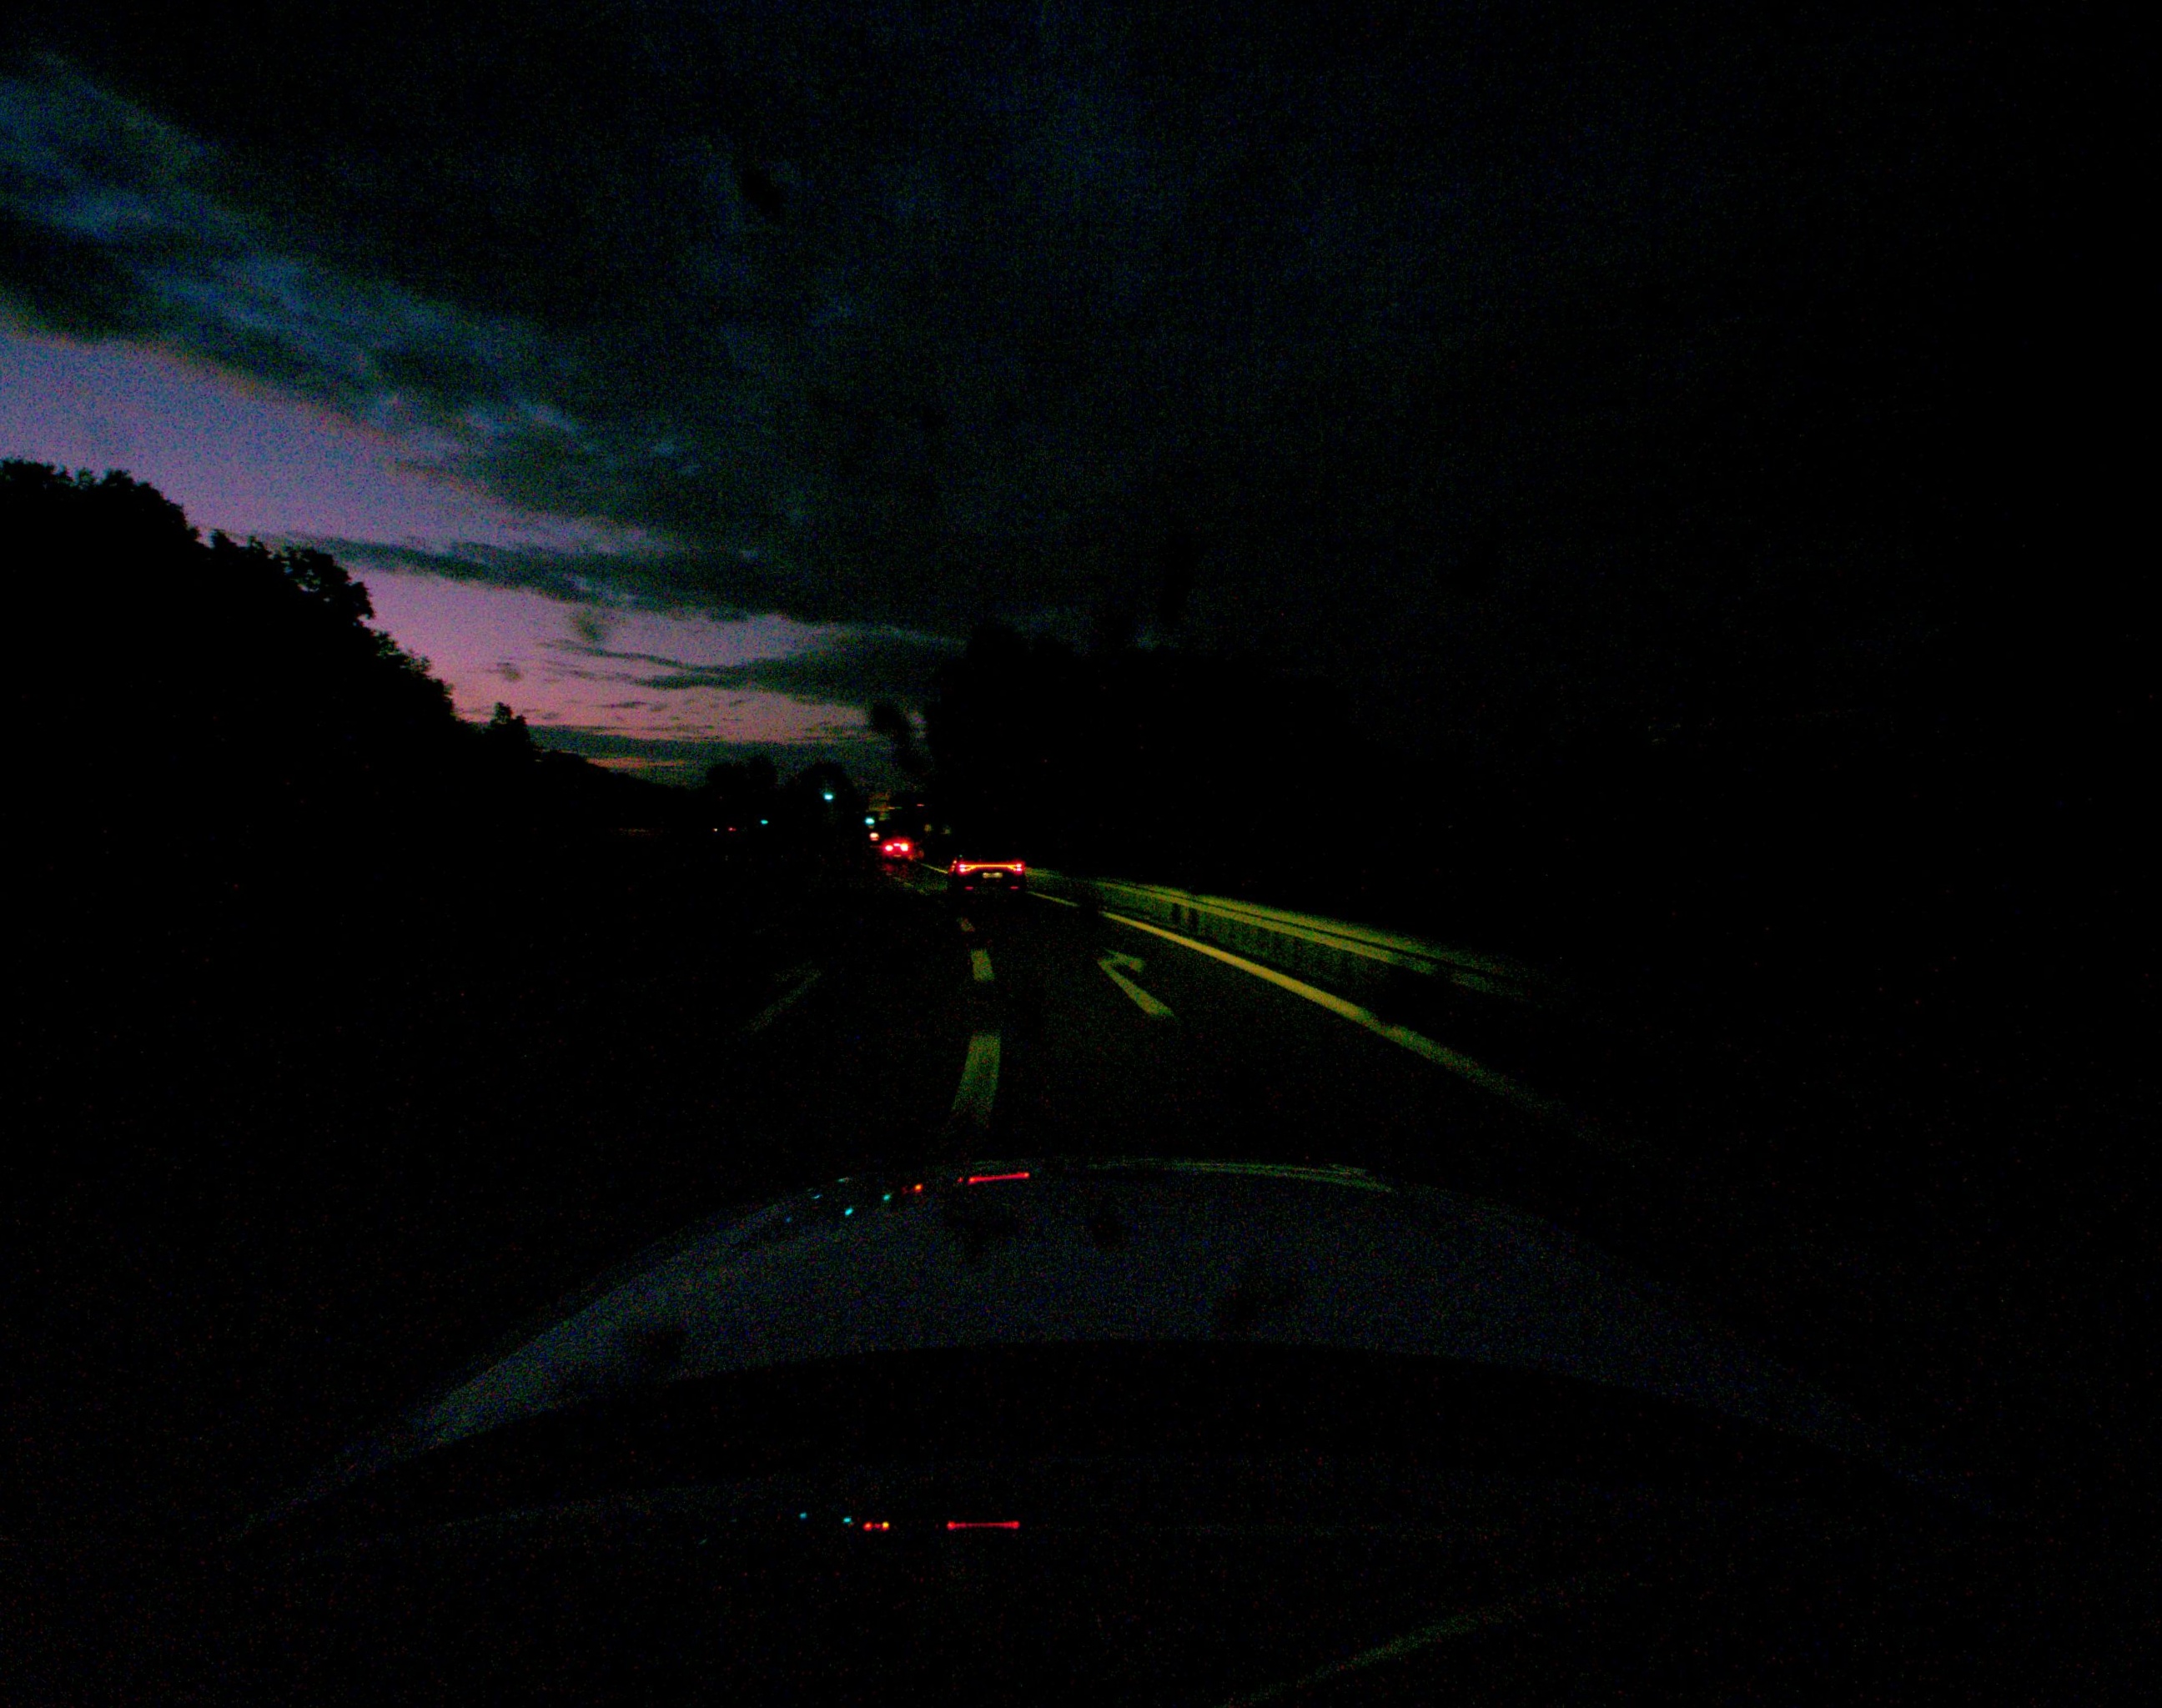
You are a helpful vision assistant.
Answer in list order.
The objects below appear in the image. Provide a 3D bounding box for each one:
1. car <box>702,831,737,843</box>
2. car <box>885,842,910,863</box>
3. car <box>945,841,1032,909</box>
[{"bbox_3d":[-48.862,-2.312,110.125,4.013,1.453,1.980,2,0,-32],"label":"car"},{"bbox_3d":[-14.545,-0.088,64.461,1.784,1.653,3.980,1,-1,-15],"label":"car"},{"bbox_3d":[-2.635,0.501,22.241,1.902,1.619,4.537,-1,0,-12],"label":"car"}]
